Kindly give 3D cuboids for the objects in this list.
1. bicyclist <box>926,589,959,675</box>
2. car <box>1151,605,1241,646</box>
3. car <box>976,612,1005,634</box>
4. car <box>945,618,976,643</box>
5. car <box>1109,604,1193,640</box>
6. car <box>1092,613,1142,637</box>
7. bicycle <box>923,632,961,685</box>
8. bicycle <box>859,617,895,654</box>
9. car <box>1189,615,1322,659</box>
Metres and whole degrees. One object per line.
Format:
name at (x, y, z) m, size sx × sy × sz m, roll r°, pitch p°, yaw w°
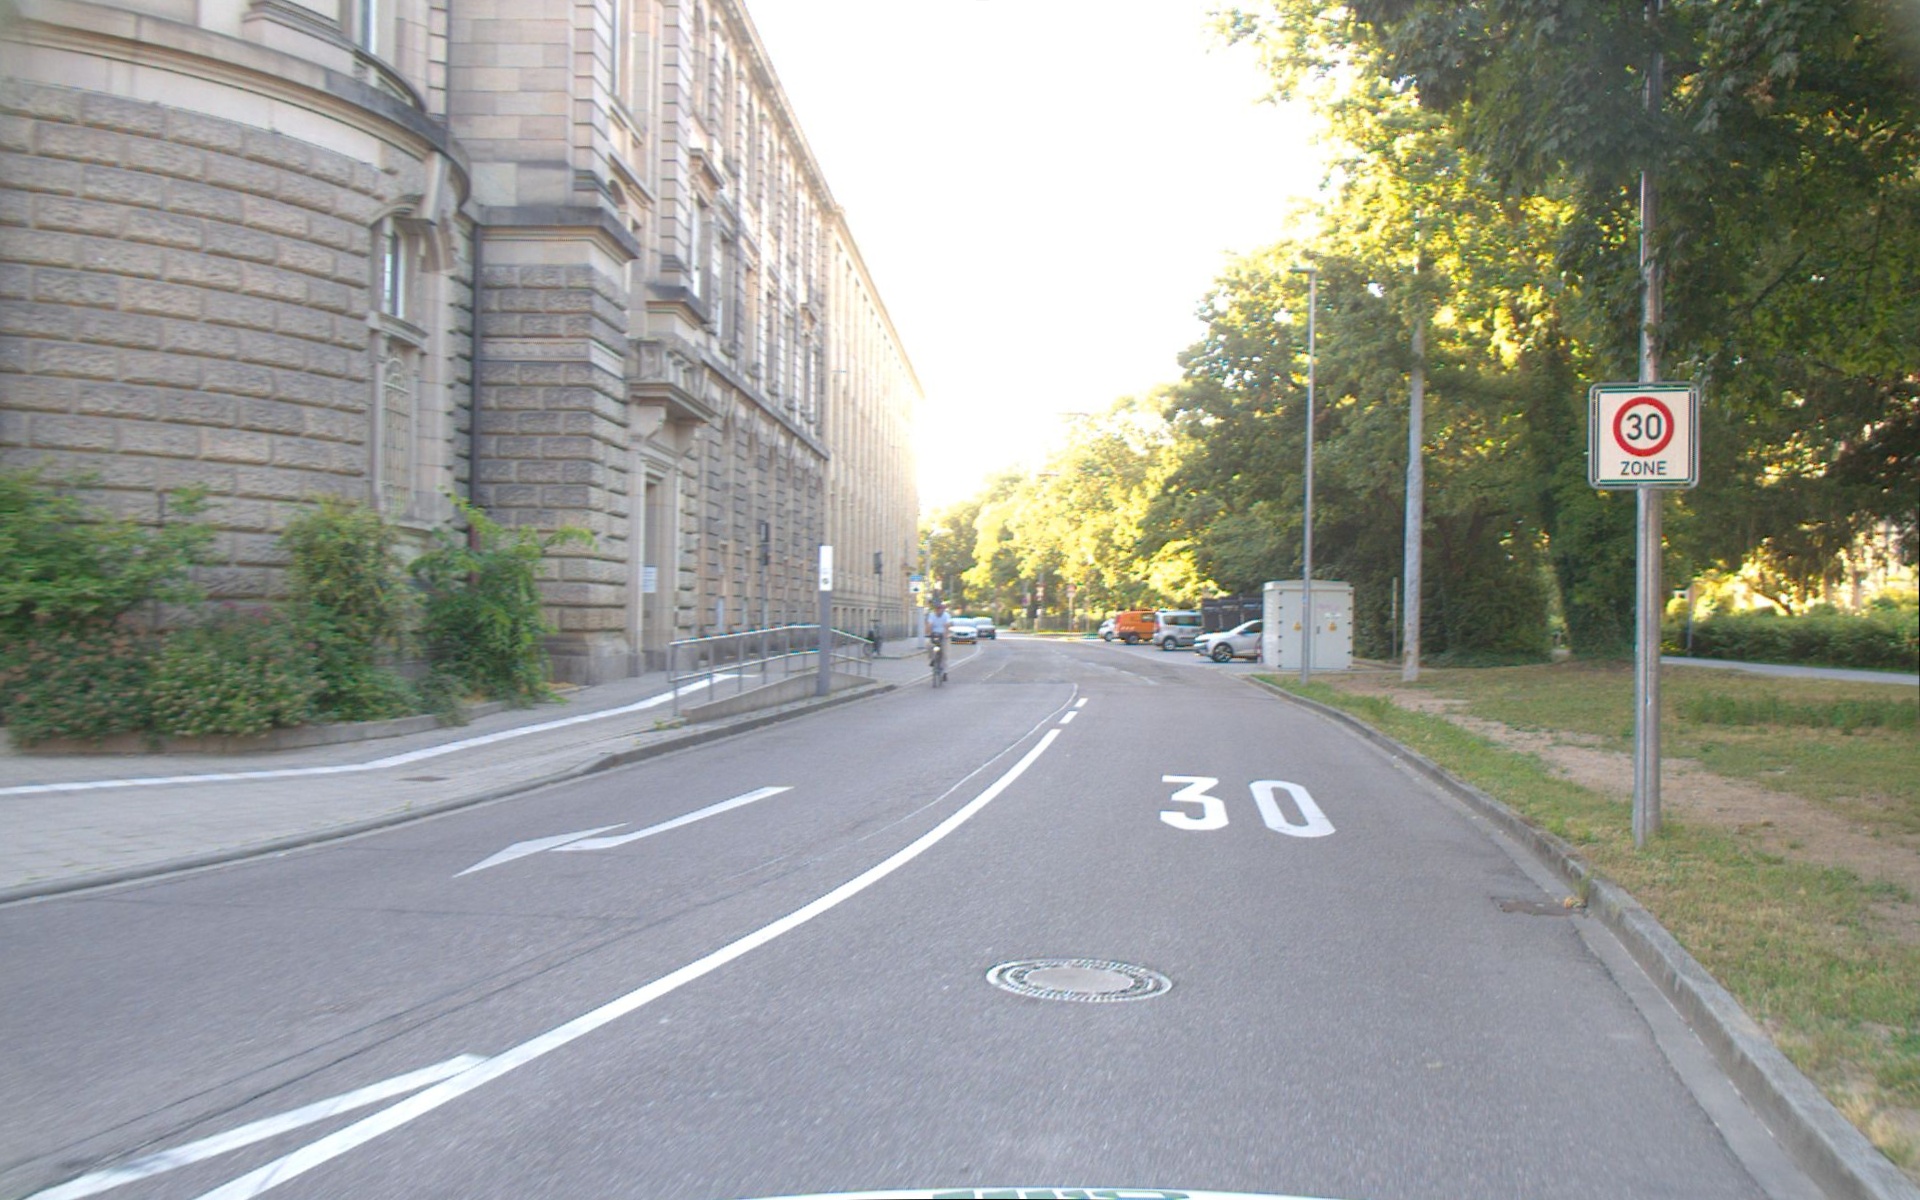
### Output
bicyclist at (-0.372, 0.685, 35.524) m, size 0.631 × 1.838 × 0.781 m, roll 0°, pitch -1°, yaw 4°
car at (11.377, 1.243, 80.010) m, size 4.140 × 1.892 × 2.000 m, roll -1°, pitch -1°, yaw 3°
car at (2.085, 1.563, 113.664) m, size 1.840 × 1.492 × 4.372 m, roll 1°, pitch 0°, yaw -1°
car at (0.019, 1.769, 96.256) m, size 1.692 × 1.422 × 4.372 m, roll 1°, pitch -1°, yaw -1°
car at (11.439, 1.297, 99.356) m, size 4.724 × 2.049 × 1.800 m, roll -1°, pitch -1°, yaw -5°
car at (10.374, 1.674, 109.553) m, size 3.082 × 1.529 × 1.539 m, roll -1°, pitch -1°, yaw -5°
bicycle at (-0.377, 1.232, 35.459) m, size 0.648 × 1.089 × 2.154 m, roll 0°, pitch -1°, yaw 4°
bicycle at (-2.647, 1.122, 53.083) m, size 0.834 × 1.121 × 1.983 m, roll 2°, pitch 0°, yaw 6°
car at (10.293, 1.291, 57.815) m, size 4.349 × 1.495 × 1.782 m, roll 0°, pitch -1°, yaw 1°
